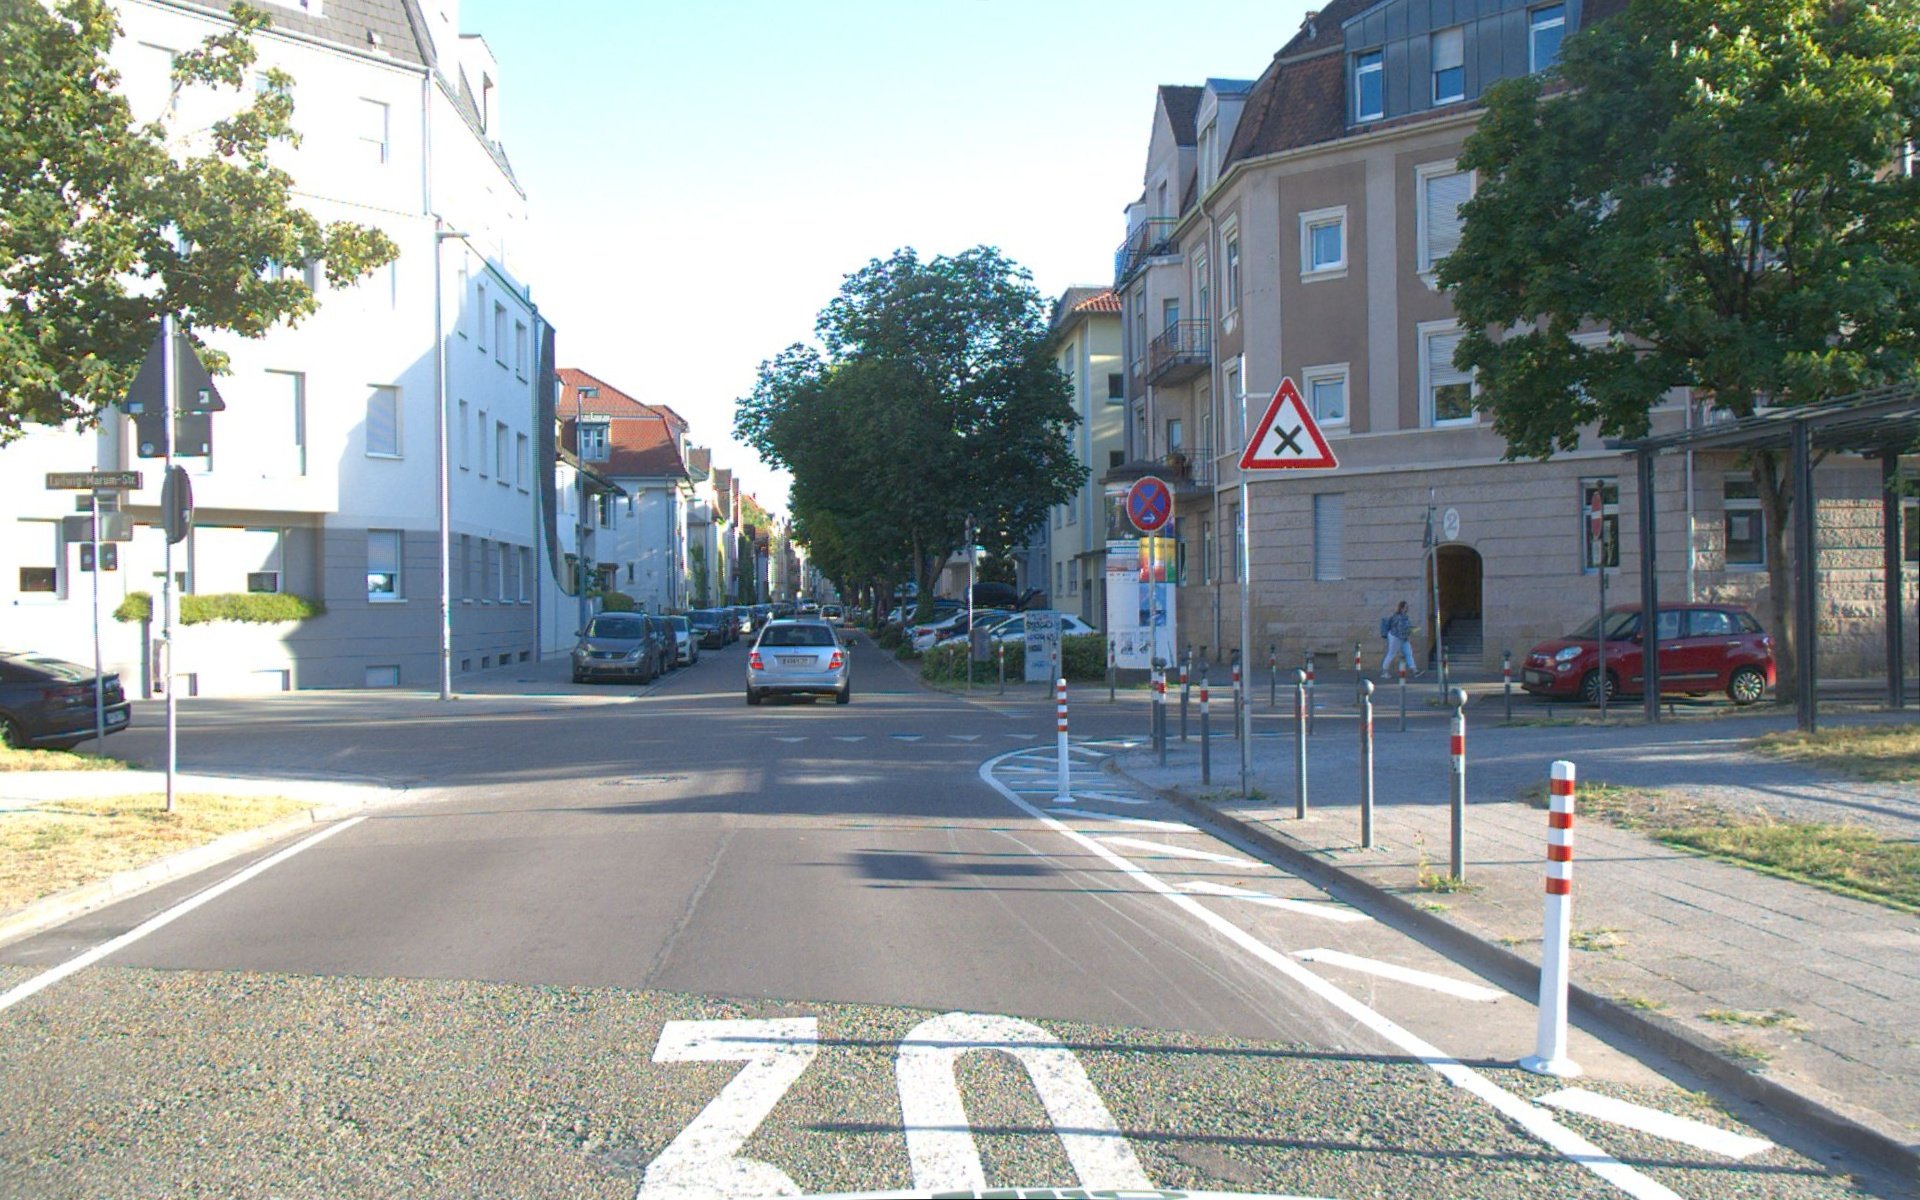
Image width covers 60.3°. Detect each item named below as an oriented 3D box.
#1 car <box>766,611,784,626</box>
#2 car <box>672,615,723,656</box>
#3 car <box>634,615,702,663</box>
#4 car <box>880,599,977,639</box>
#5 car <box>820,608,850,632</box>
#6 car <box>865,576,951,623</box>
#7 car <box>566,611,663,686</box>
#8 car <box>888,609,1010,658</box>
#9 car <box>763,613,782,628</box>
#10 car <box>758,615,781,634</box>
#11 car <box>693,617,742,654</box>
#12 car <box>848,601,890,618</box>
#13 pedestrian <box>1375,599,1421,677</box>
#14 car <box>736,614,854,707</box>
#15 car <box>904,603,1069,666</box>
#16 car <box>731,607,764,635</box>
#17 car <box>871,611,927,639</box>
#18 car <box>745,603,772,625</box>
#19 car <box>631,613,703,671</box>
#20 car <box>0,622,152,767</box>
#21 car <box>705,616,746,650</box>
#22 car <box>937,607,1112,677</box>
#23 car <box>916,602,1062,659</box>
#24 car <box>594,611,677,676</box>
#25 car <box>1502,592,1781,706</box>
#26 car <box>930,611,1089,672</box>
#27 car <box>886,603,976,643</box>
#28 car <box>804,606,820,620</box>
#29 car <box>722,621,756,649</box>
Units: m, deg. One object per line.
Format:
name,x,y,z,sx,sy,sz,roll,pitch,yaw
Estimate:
car,-18.982,1.888,170.080,1.764,1.411,3.602,0,0,-5
car,-10.280,1.376,65.025,1.819,1.524,4.647,0,-1,-7
car,-9.295,1.224,52.966,1.723,1.473,4.138,0,-1,-4
car,-1.530,0.889,78.970,4.535,1.869,1.952,0,0,-5
car,-8.202,1.310,108.471,1.780,1.499,4.214,-1,-1,-2
car,-3.486,-0.032,109.804,5.437,3.020,2.468,-1,0,-7
car,-7.998,1.083,38.563,1.848,1.619,4.084,-1,0,-7
car,-0.421,1.173,57.991,4.110,1.585,1.872,-1,0,-6
car,-17.969,1.974,158.607,1.764,1.411,3.602,0,0,-5
car,-15.556,1.968,135.256,1.764,1.508,3.853,0,0,-5
car,-10.286,1.497,70.370,1.748,1.524,4.695,0,-1,-4
car,-8.411,0.871,152.578,3.768,1.508,1.803,-1,0,-4
pedestrian,9.028,0.776,34.106,0.801,1.572,0.743,-3,-1,12
car,-2.838,1.029,29.156,1.780,1.499,4.214,-1,-1,-2
car,0.731,0.967,47.222,4.396,1.552,1.949,-2,1,-11
car,-12.930,1.249,100.803,1.764,1.673,3.853,0,0,-5
car,-3.944,1.587,106.787,3.526,1.689,1.647,-1,0,-7
car,-14.456,0.987,119.014,1.764,1.508,3.853,0,0,-5
car,-8.530,1.191,48.449,1.848,1.619,4.084,-1,0,-7
car,-12.737,1.149,20.299,4.728,1.698,1.787,-1,-1,-4
car,-10.863,1.518,76.837,1.627,1.514,3.750,0,-1,-4
car,1.516,0.993,39.834,3.970,1.532,1.859,-1,0,-6
car,0.887,0.958,52.819,4.439,1.669,1.872,-1,0,-6
car,-8.487,1.107,43.567,1.848,1.619,4.084,-1,0,-7
car,11.459,0.789,27.981,3.993,1.771,1.811,-1,1,-3
car,1.297,1.099,44.603,4.063,1.473,1.671,-2,0,-6
car,-1.262,0.975,70.423,3.658,1.585,1.723,-1,0,-6
car,-17.662,1.554,197.903,1.497,1.500,4.270,0,-2,0
car,-12.223,1.915,91.700,1.627,1.526,3.750,0,-1,-4
